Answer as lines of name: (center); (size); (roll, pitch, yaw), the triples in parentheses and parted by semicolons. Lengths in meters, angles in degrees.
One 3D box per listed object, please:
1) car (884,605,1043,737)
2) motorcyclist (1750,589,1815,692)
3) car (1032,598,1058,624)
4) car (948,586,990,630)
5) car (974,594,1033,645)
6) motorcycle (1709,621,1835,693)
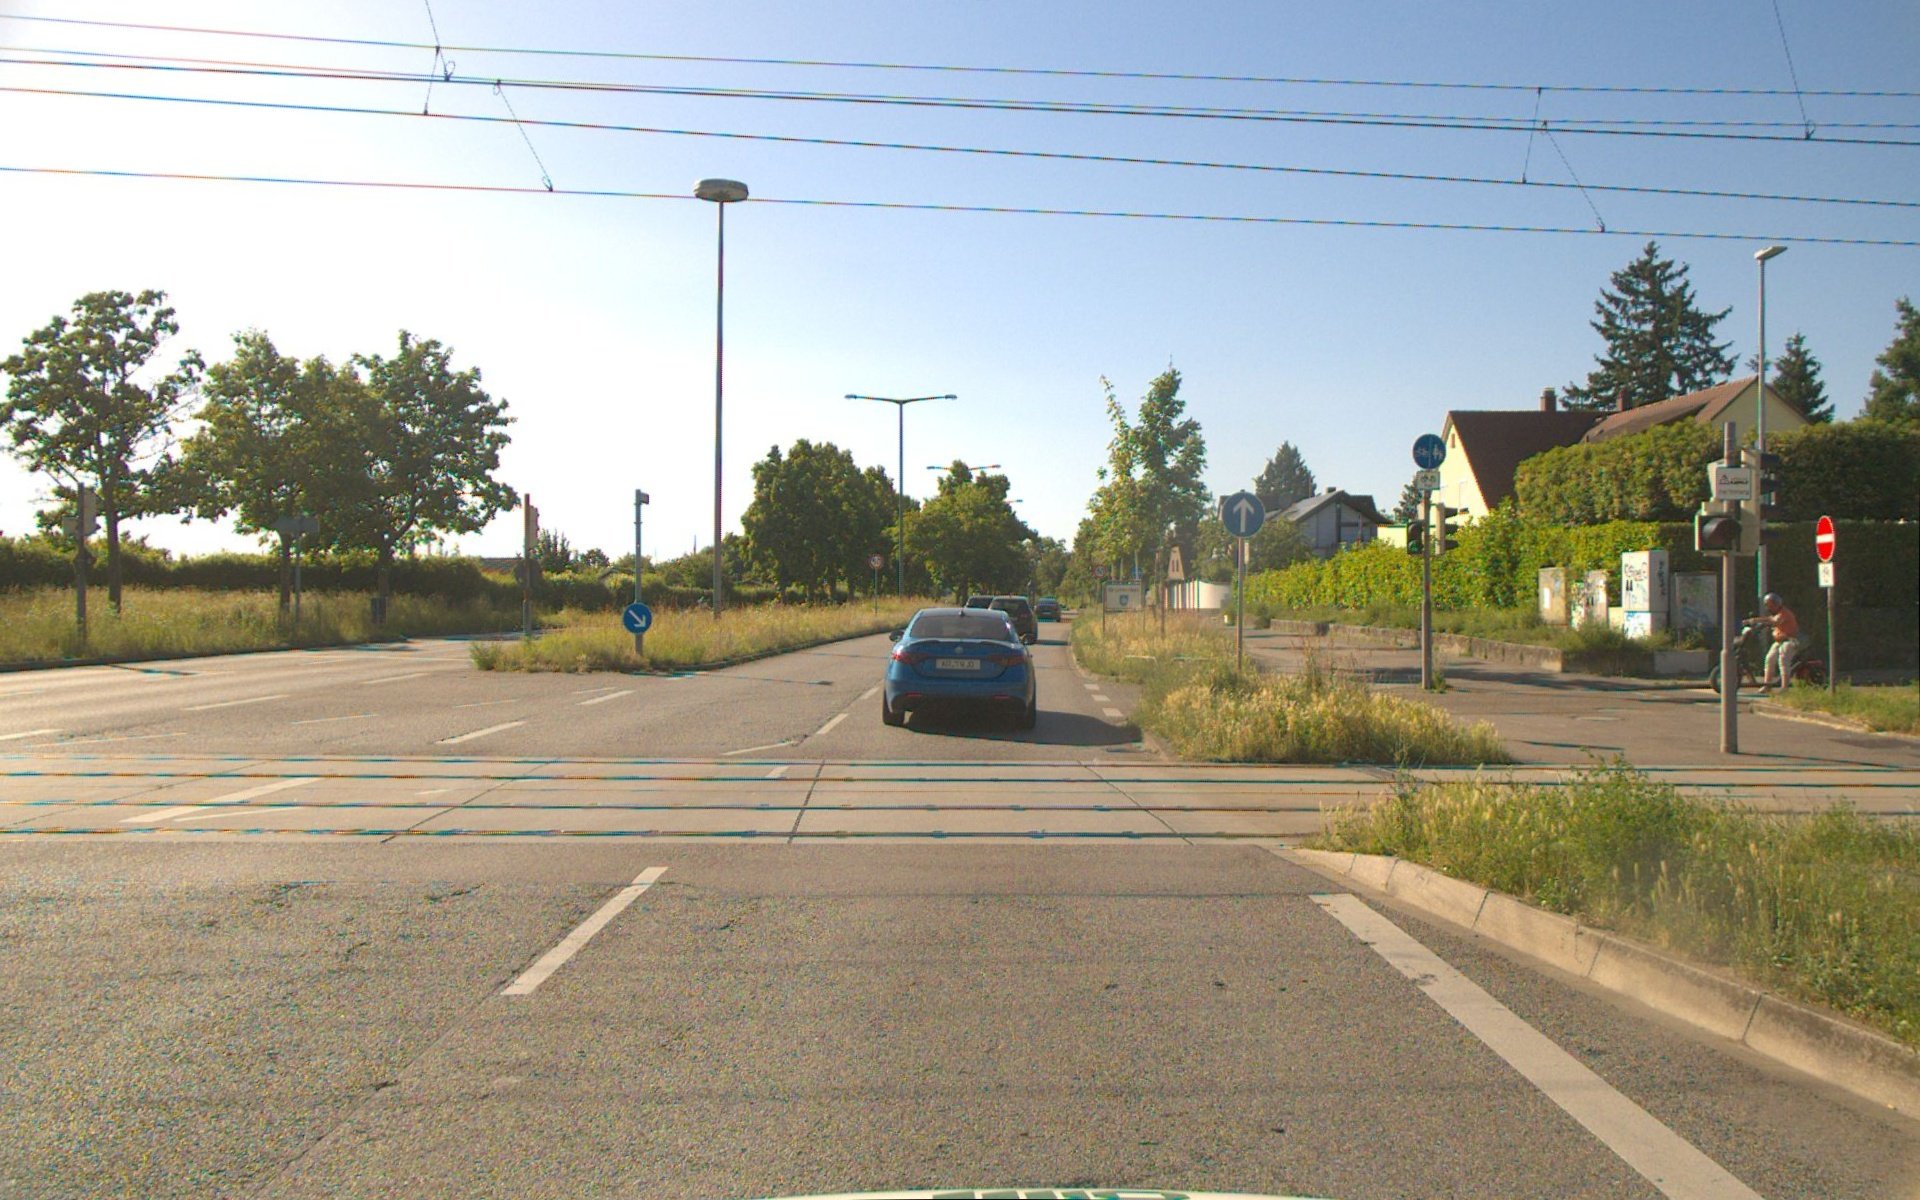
car: (-0.049, 0.833, 21.254); (1.802, 1.500, 4.182); (0, 0, -3)
motorcyclist: (12.942, 0.634, 26.044); (0.678, 1.585, 0.700); (-1, 0, 3)
car: (5.471, 0.676, 106.793); (1.626, 1.607, 3.810); (1, 0, 3)
car: (0.470, 0.379, 80.412); (1.755, 2.049, 4.002); (0, 0, 4)
car: (1.402, 0.622, 55.145); (1.876, 1.607, 4.182); (0, 0, 0)
motorcycle: (12.727, 0.887, 25.955); (1.719, 1.090, 0.452); (-1, 0, 3)
